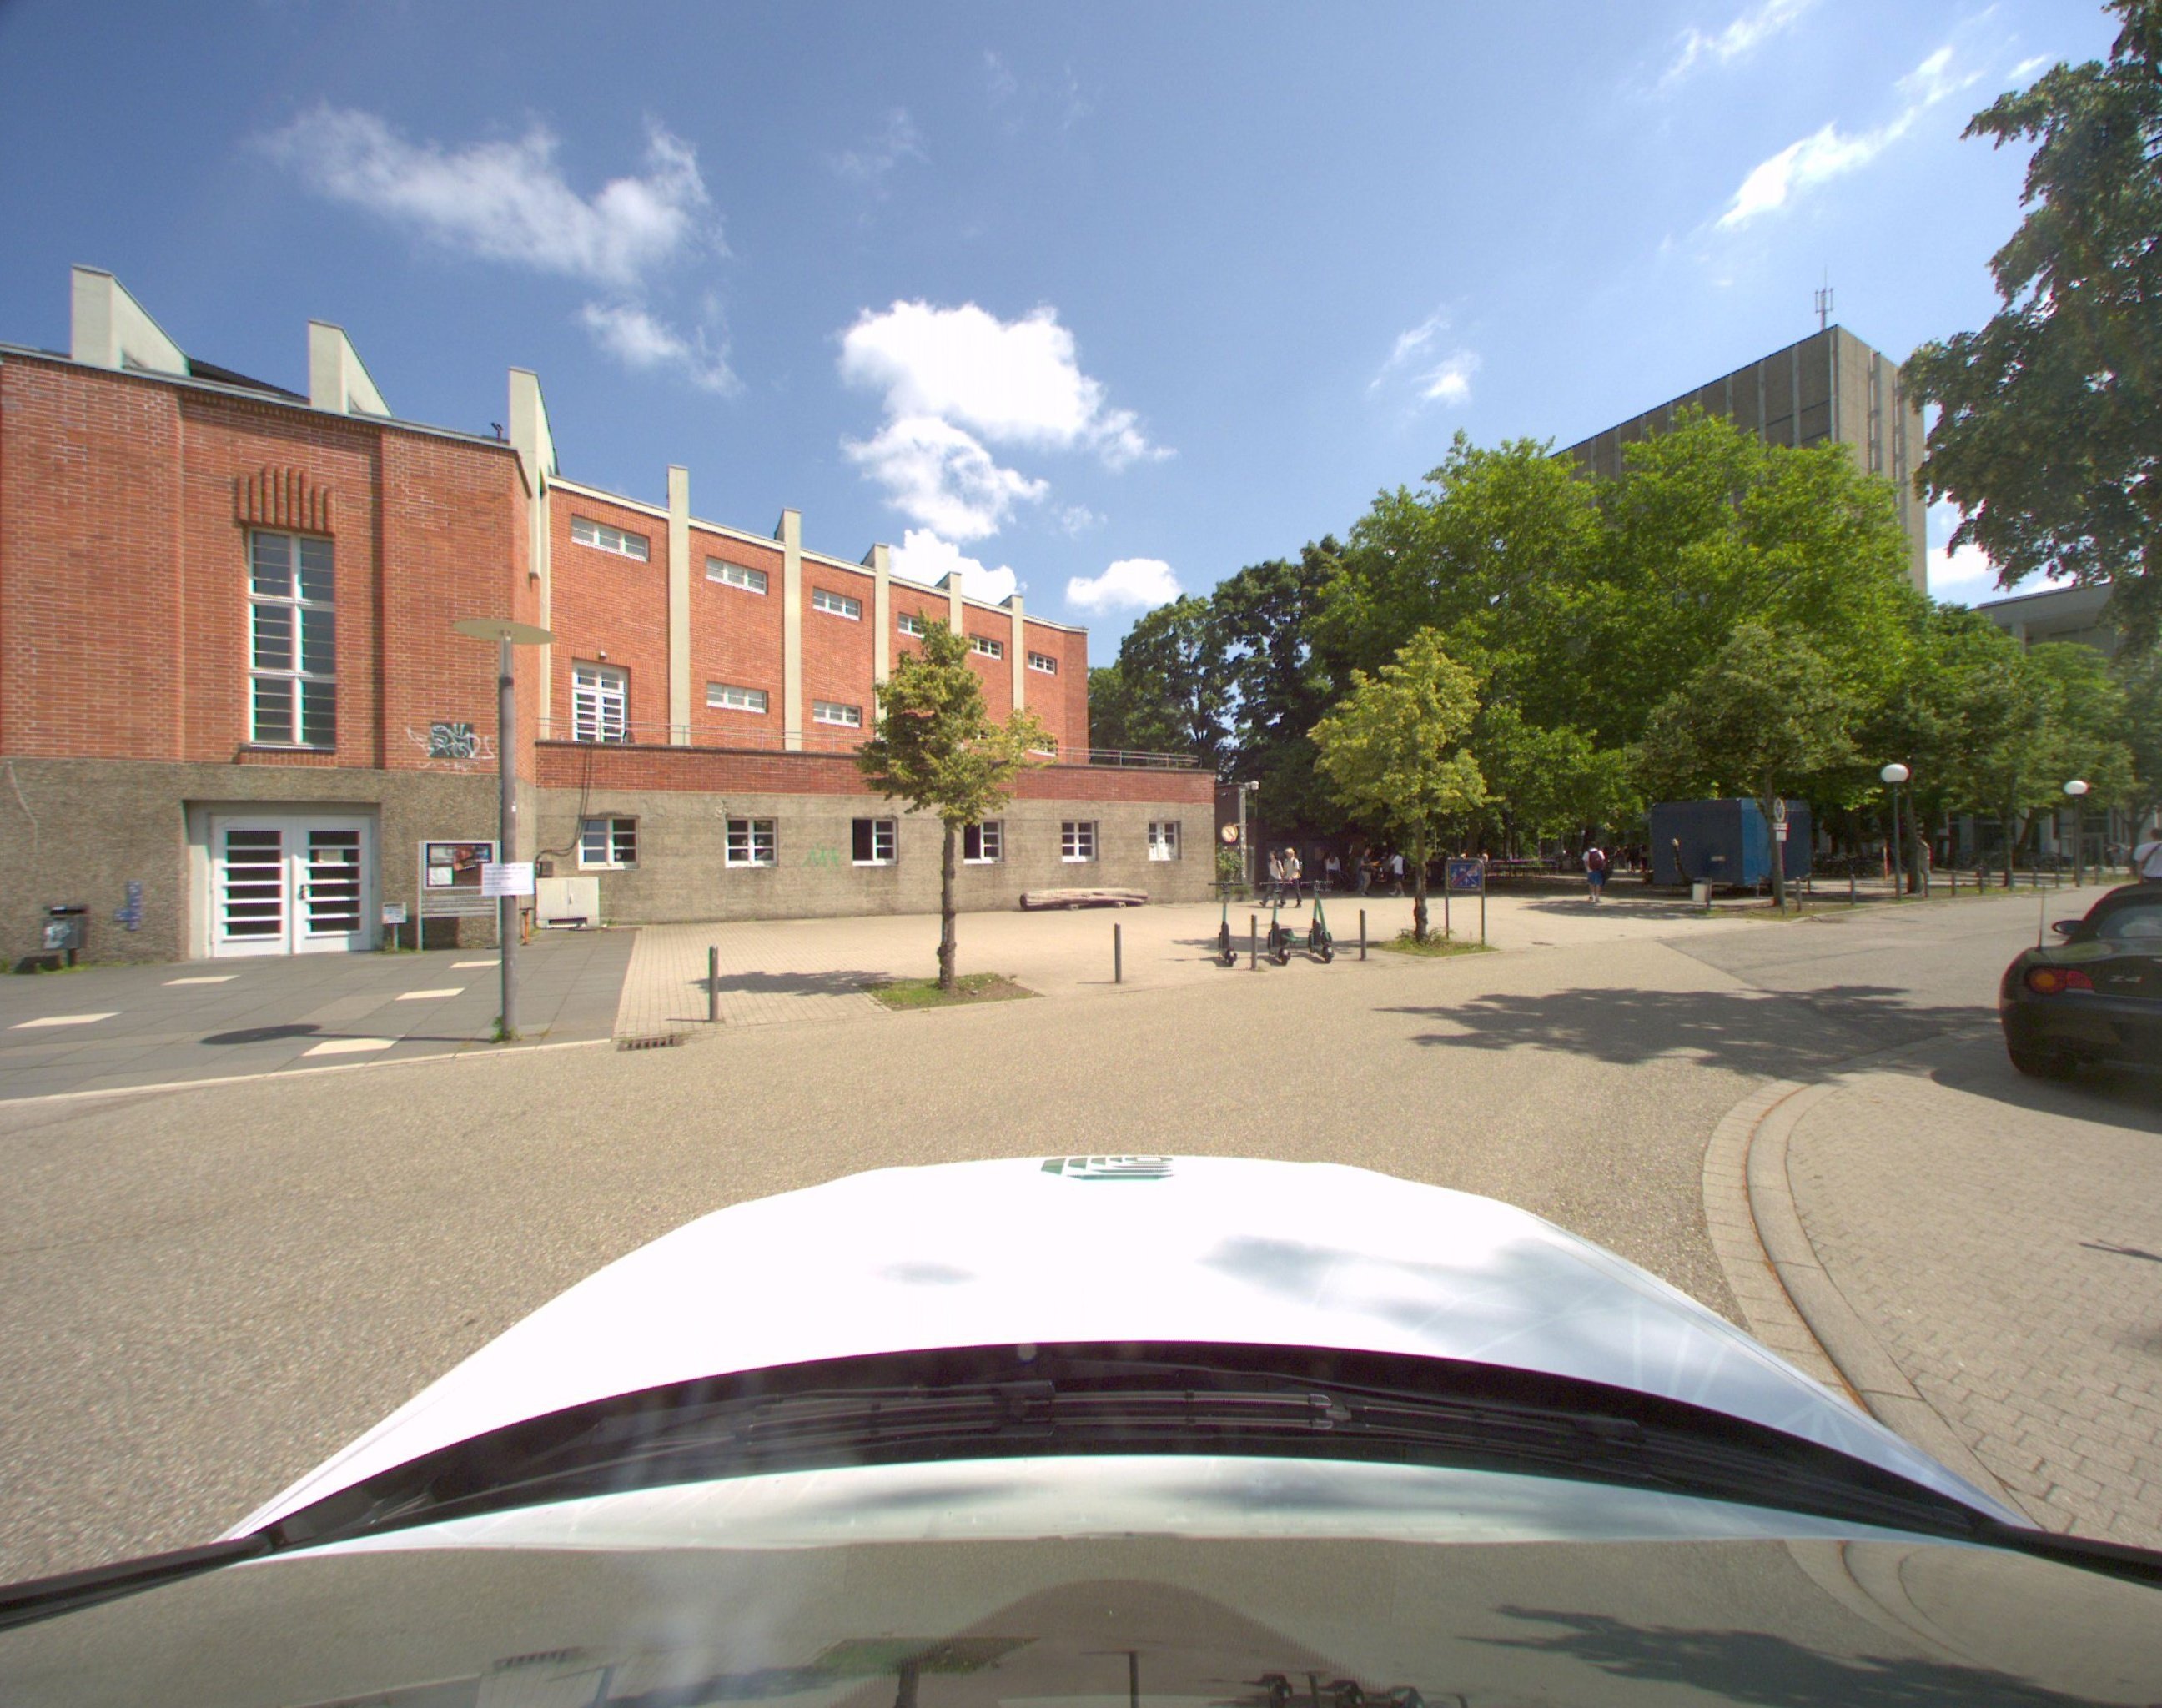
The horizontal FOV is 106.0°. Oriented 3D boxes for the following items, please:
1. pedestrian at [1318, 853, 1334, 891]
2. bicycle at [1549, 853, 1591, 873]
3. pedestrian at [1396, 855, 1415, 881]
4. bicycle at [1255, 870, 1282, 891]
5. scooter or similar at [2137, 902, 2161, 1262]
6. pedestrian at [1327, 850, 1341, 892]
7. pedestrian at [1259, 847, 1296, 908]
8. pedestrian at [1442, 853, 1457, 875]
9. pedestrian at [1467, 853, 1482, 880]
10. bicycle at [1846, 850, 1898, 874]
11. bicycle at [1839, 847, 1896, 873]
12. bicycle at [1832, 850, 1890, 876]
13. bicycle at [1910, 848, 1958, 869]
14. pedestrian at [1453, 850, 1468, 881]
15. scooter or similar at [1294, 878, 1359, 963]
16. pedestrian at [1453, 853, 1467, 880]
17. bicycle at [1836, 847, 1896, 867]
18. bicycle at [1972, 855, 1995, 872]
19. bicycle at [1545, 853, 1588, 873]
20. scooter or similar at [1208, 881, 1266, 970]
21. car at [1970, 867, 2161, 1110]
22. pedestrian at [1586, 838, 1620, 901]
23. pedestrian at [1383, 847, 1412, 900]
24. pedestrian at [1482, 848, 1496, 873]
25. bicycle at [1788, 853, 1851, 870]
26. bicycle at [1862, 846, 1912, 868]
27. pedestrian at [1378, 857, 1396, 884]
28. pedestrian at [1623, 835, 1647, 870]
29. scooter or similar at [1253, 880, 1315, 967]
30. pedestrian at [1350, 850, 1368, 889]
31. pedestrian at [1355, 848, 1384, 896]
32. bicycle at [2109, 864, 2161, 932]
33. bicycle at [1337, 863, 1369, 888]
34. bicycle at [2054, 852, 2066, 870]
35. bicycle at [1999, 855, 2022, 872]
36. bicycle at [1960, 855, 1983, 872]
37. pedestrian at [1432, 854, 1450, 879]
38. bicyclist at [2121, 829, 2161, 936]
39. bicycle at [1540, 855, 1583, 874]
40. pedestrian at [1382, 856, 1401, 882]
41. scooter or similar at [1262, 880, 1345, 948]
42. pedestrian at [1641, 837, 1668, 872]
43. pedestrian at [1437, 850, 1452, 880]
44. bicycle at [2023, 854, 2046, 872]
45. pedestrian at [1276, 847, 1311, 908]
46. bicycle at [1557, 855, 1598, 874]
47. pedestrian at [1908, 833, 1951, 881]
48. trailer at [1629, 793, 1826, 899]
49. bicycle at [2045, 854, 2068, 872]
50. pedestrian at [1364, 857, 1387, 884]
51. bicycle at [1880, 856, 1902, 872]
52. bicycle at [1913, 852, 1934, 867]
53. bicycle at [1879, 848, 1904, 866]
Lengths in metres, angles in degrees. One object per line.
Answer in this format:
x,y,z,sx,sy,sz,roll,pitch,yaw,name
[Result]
10.475,0.746,34.788,0.599,1.593,0.415,0,1,20,pedestrian
28.047,0.525,46.762,0.587,1.119,1.992,0,-1,-37,bicycle
15.868,0.674,39.782,0.695,1.271,0.557,0,0,-27,pedestrian
8.252,1.158,35.847,1.234,0.883,0.302,0,-1,-27,bicycle
4.514,0.799,2.880,1.382,1.254,0.551,0,-1,-20,scooter or similar
10.635,0.707,34.233,0.524,1.710,0.450,0,1,18,pedestrian
5.829,0.675,24.195,0.920,1.779,0.572,0,-1,-29,pedestrian
19.831,0.541,43.819,0.734,1.194,0.388,-1,0,-37,pedestrian
18.654,0.584,38.622,0.588,1.233,0.747,-1,2,28,pedestrian
37.428,0.360,38.535,1.757,1.132,0.461,0,0,45,bicycle
39.329,0.305,40.752,2.035,1.234,0.813,2,2,45,bicycle
38.287,0.438,39.976,2.035,1.234,0.813,0,1,45,bicycle
54.404,0.302,51.933,1.995,1.254,0.591,-2,-1,30,bicycle
17.744,0.529,38.070,0.588,1.369,0.747,-1,2,28,pedestrian
3.833,1.005,12.812,0.521,1.225,1.574,0,0,0,scooter or similar
18.133,0.584,38.953,0.588,1.233,0.747,-1,2,28,pedestrian
40.144,0.148,41.677,2.126,1.008,0.682,0,0,32,bicycle
59.850,0.603,53.988,1.978,1.086,0.549,0,1,-28,bicycle
27.482,0.501,46.123,0.587,1.119,1.992,0,-1,-37,bicycle
2.358,1.046,12.470,0.567,1.225,1.574,0,0,-1,scooter or similar
7.847,0.768,5.362,4.009,1.280,1.698,-1,0,-27,car
15.632,0.450,24.413,0.843,1.835,0.884,0,2,31,pedestrian
11.121,0.682,28.633,0.875,1.820,0.449,1,-2,0,pedestrian
22.578,0.356,45.071,0.462,1.422,0.501,-1,0,-38,pedestrian
44.555,0.467,49.188,2.702,1.003,0.887,0,0,20,bicycle
52.468,0.207,53.042,2.261,1.450,0.611,0,0,29,bicycle
15.352,0.825,40.834,0.560,1.323,0.641,-1,-1,-26,pedestrian
31.520,-0.078,46.355,0.815,1.948,0.854,1,1,10,pedestrian
3.126,1.033,12.676,0.561,1.225,1.574,0,0,-1,scooter or similar
11.907,0.655,34.880,0.670,1.651,0.506,0,1,23,pedestrian
10.571,0.649,29.843,0.875,1.720,0.489,1,-2,0,pedestrian
20.584,0.803,15.521,2.758,1.199,0.876,0,0,-31,bicycle
12.028,0.959,35.973,1.334,1.077,0.419,0,-2,18,bicycle
56.297,0.384,46.831,1.824,1.025,0.378,0,0,-40,bicycle
60.674,0.592,53.134,1.978,1.086,0.549,0,1,-28,bicycle
59.533,0.610,54.456,1.978,1.086,0.549,0,1,-28,bicycle
18.422,0.650,41.638,0.771,1.250,0.564,-1,0,-40,pedestrian
20.704,0.526,15.586,0.852,2.013,0.868,0,0,-30,bicyclist
26.793,0.584,45.410,0.587,1.008,1.992,0,-1,-37,bicycle
15.006,0.718,39.327,0.695,1.271,0.557,0,0,-27,pedestrian
3.988,1.055,14.612,1.348,1.149,0.562,0,-1,-16,scooter or similar
32.335,0.040,45.956,0.912,1.948,0.895,1,1,10,pedestrian
17.358,0.520,38.885,0.588,1.369,0.708,-1,2,28,pedestrian
60.920,0.566,52.010,1.978,1.086,0.549,0,1,-28,bicycle
6.206,0.675,23.782,0.808,1.762,0.560,0,-1,-29,pedestrian
30.059,0.623,49.323,0.587,1.119,1.992,0,-1,-37,bicycle
35.533,0.119,34.095,0.891,1.954,0.915,0,1,-18,pedestrian
20.604,-0.255,25.890,6.282,3.026,2.681,-1,1,-28,trailer
61.184,0.546,51.077,1.978,1.086,0.549,0,1,-28,bicycle
14.547,0.795,40.205,0.780,1.323,0.684,-1,-1,-27,pedestrian
57.703,0.676,57.982,1.978,1.086,0.549,0,1,-28,bicycle
56.543,0.365,54.640,1.854,1.032,0.473,0,0,-28,bicycle
57.350,0.202,57.636,2.387,1.253,0.522,-1,-1,-27,bicycle
